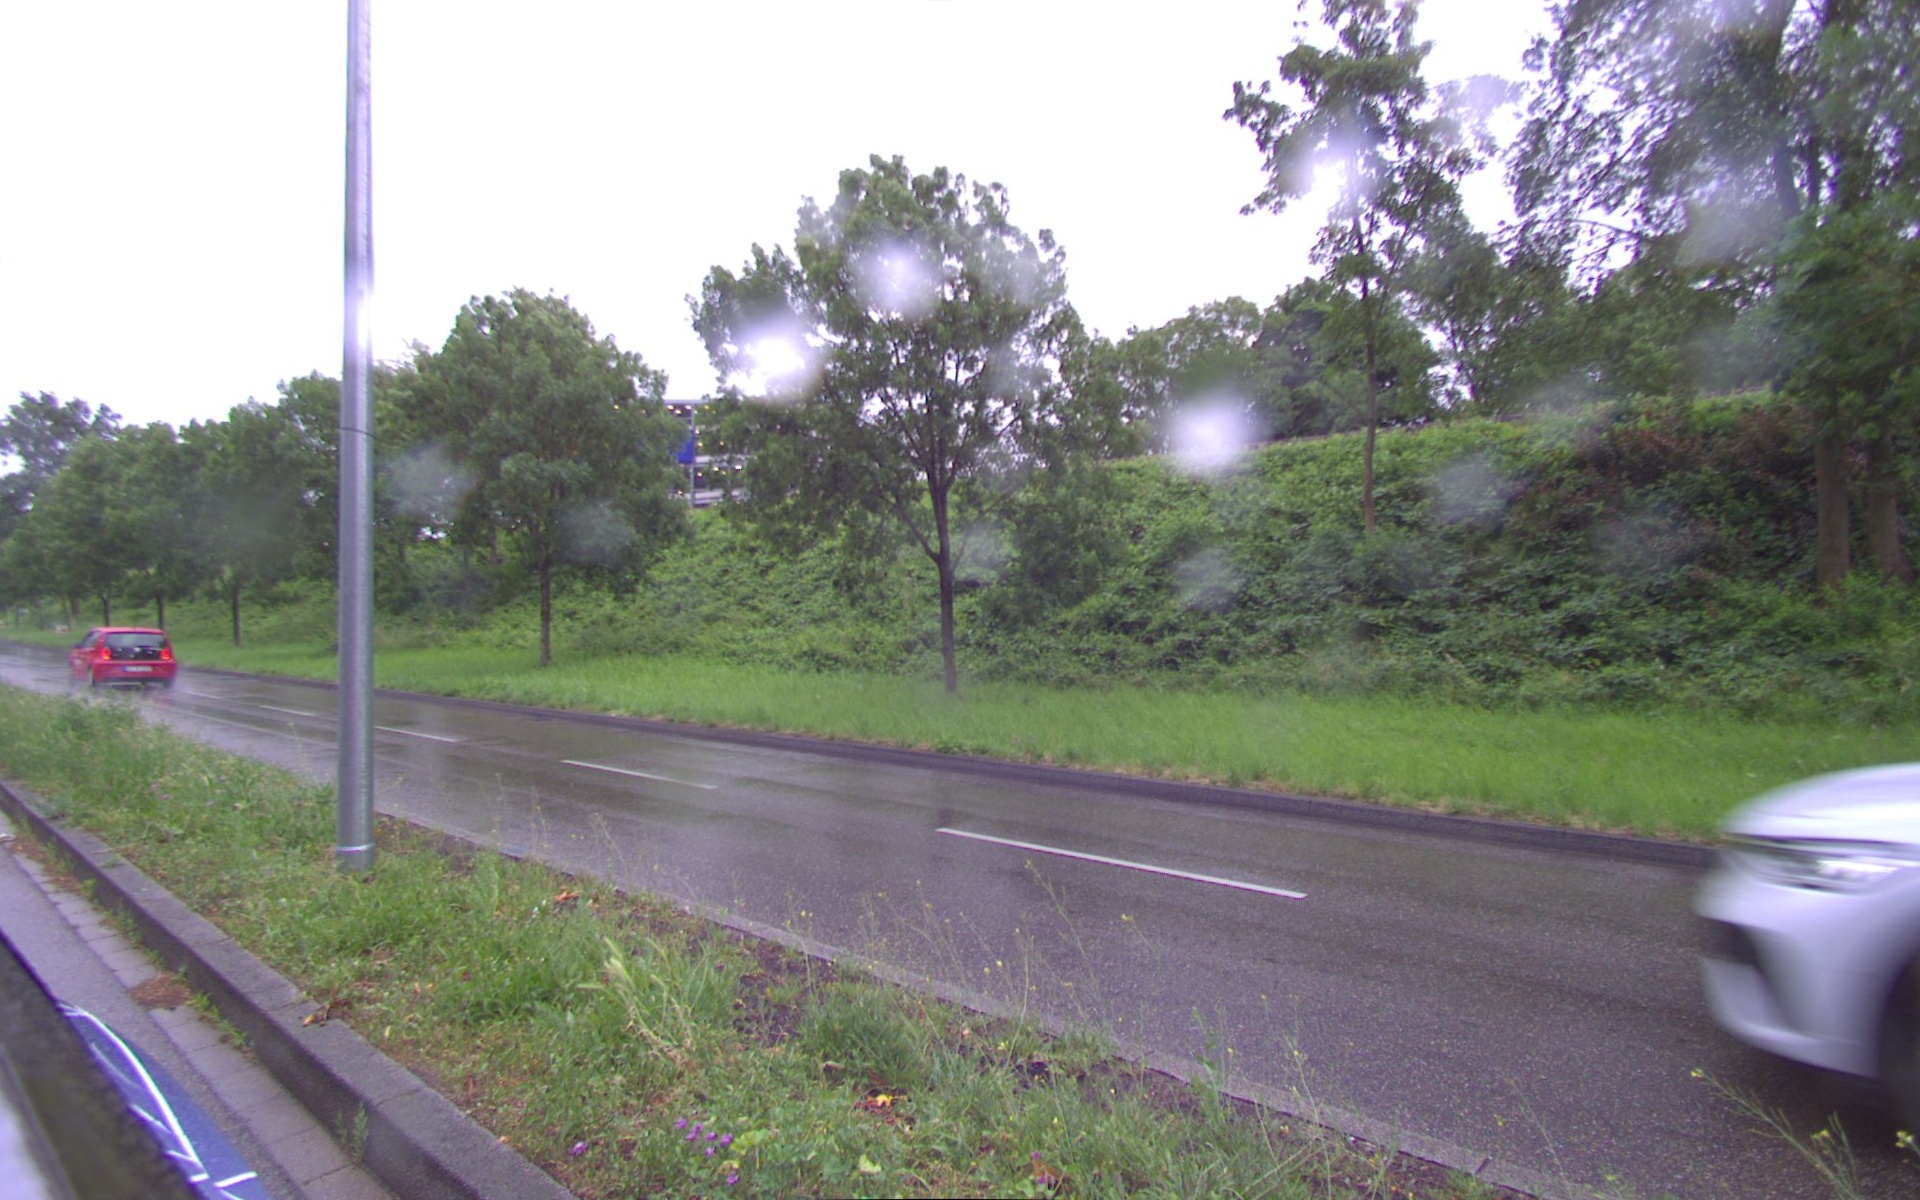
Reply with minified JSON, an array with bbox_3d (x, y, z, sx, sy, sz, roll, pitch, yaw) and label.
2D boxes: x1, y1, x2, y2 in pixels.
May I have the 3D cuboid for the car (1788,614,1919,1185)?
[{"bbox_3d":[4.697,0.791,2.271,4.330,1.537,1.943,-2,-4,39],"label":"car"}]

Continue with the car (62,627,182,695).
[{"bbox_3d":[-20.552,1.460,24.780,3.613,1.525,1.697,-2,-4,42],"label":"car"}]
